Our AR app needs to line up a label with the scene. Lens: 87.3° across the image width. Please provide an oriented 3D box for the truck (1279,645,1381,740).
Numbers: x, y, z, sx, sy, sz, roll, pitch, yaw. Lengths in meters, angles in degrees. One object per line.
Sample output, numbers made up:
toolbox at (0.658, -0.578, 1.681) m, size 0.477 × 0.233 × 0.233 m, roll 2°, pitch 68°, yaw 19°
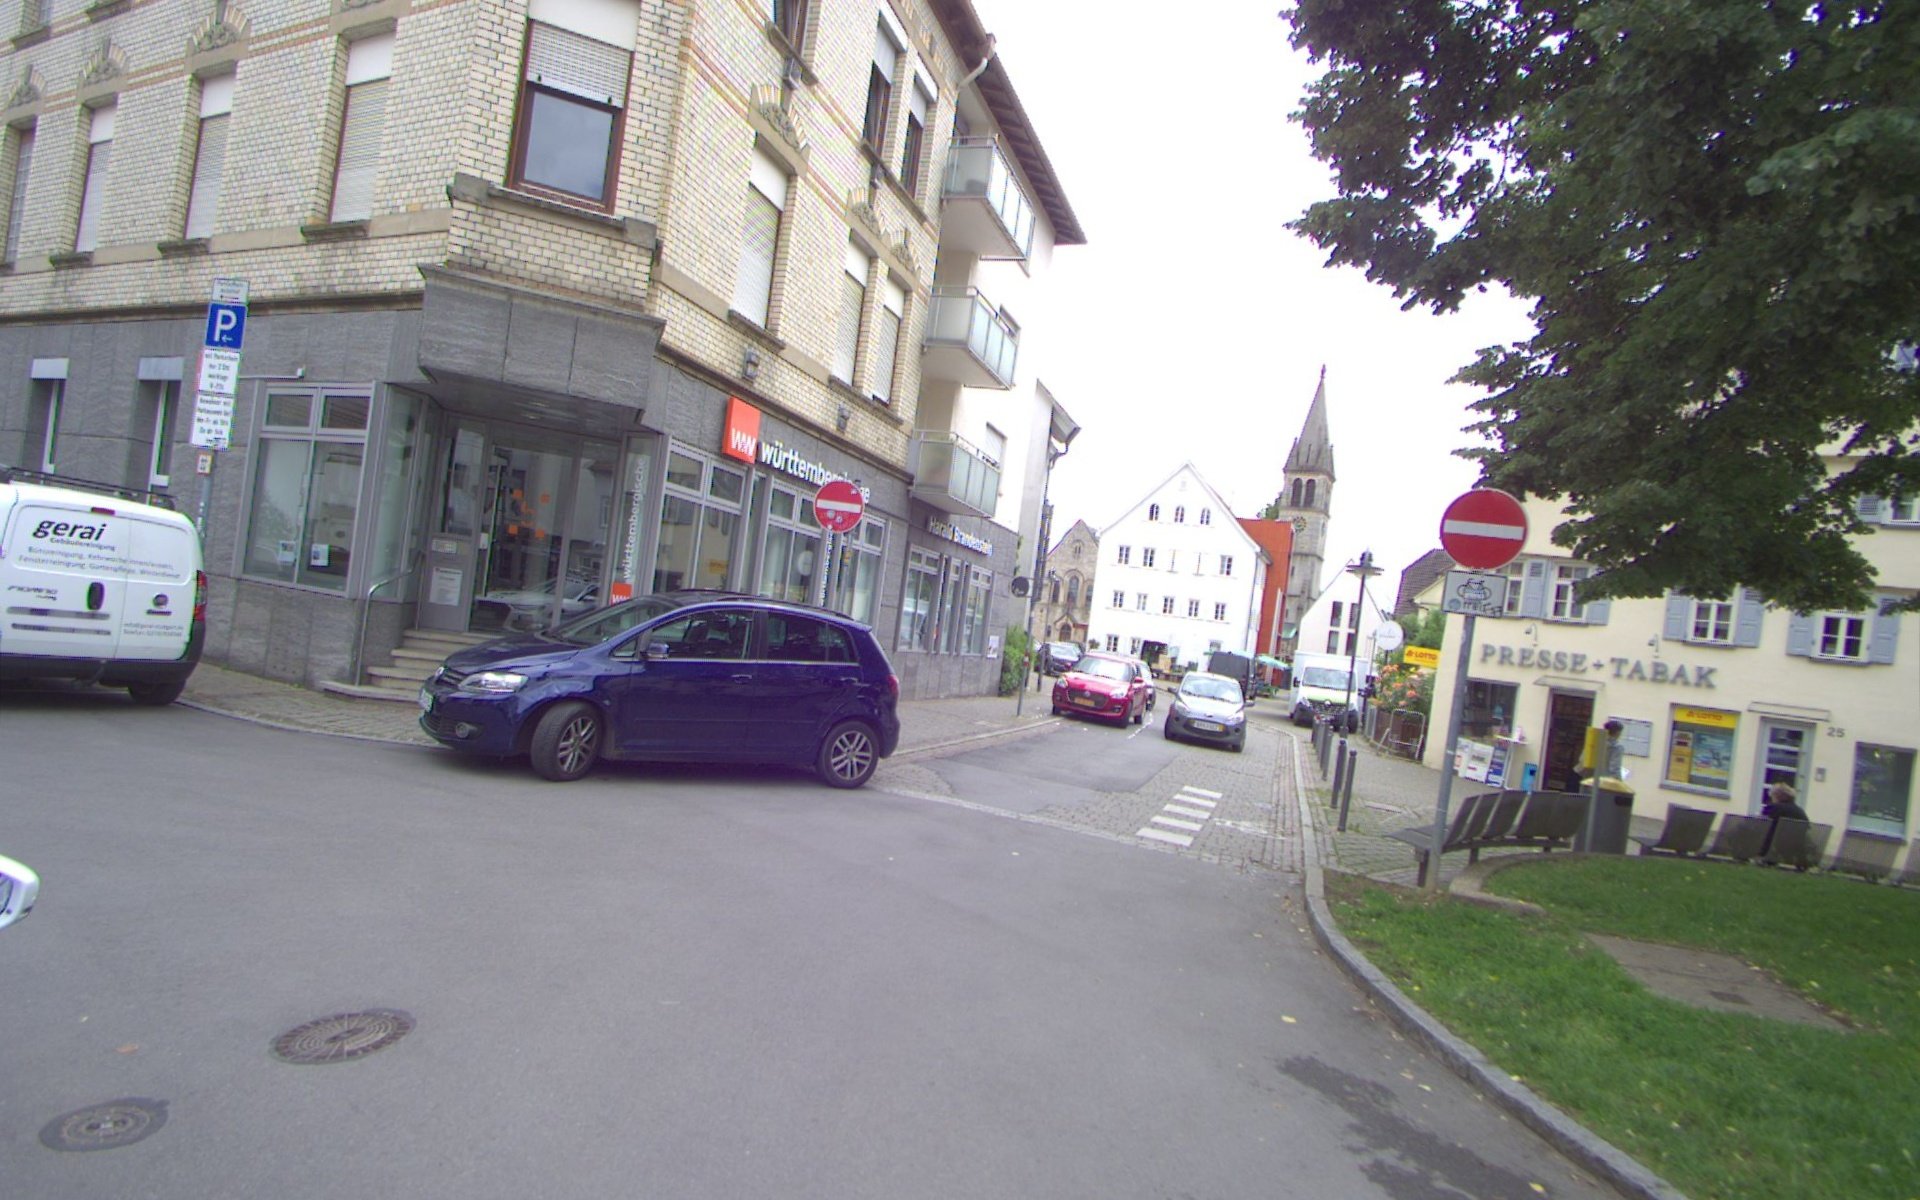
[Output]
truck at (12.905, 3.222, 35.511) m, size 2.789 × 2.721 × 5.301 m, roll 7°, pitch -2°, yaw 18°

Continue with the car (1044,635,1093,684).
car at (5.386, 2.902, 50.343) m, size 1.950 × 2.037 × 4.366 m, roll 8°, pitch -1°, yaw 3°

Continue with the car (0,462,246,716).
car at (-8.521, -0.237, 8.640) m, size 4.141 × 1.813 × 1.832 m, roll 7°, pitch -2°, yaw 23°

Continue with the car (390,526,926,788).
car at (-2.524, 0.587, 8.866) m, size 3.992 × 1.722 × 1.844 m, roll 10°, pitch -4°, yaw -38°

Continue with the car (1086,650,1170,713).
car at (5.387, 2.597, 32.884) m, size 2.214 × 1.528 × 4.527 m, roll 8°, pitch -1°, yaw 6°

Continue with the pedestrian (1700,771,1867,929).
pedestrian at (8.900, 2.680, 10.917) m, size 0.957 × 1.396 × 0.858 m, roll 8°, pitch -1°, yaw 6°

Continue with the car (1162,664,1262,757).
car at (5.502, 2.329, 22.050) m, size 1.749 × 1.533 × 4.011 m, roll 8°, pitch -1°, yaw 14°

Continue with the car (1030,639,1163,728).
car at (3.300, 1.981, 23.435) m, size 2.084 × 1.564 × 4.390 m, roll 8°, pitch -3°, yaw 19°

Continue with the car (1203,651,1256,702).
car at (13.839, 3.899, 51.487) m, size 2.038 × 2.237 × 4.002 m, roll 8°, pitch -1°, yaw 20°

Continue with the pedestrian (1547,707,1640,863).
pedestrian at (7.960, 2.292, 12.656) m, size 0.783 × 1.764 × 0.711 m, roll 7°, pitch -1°, yaw 33°
